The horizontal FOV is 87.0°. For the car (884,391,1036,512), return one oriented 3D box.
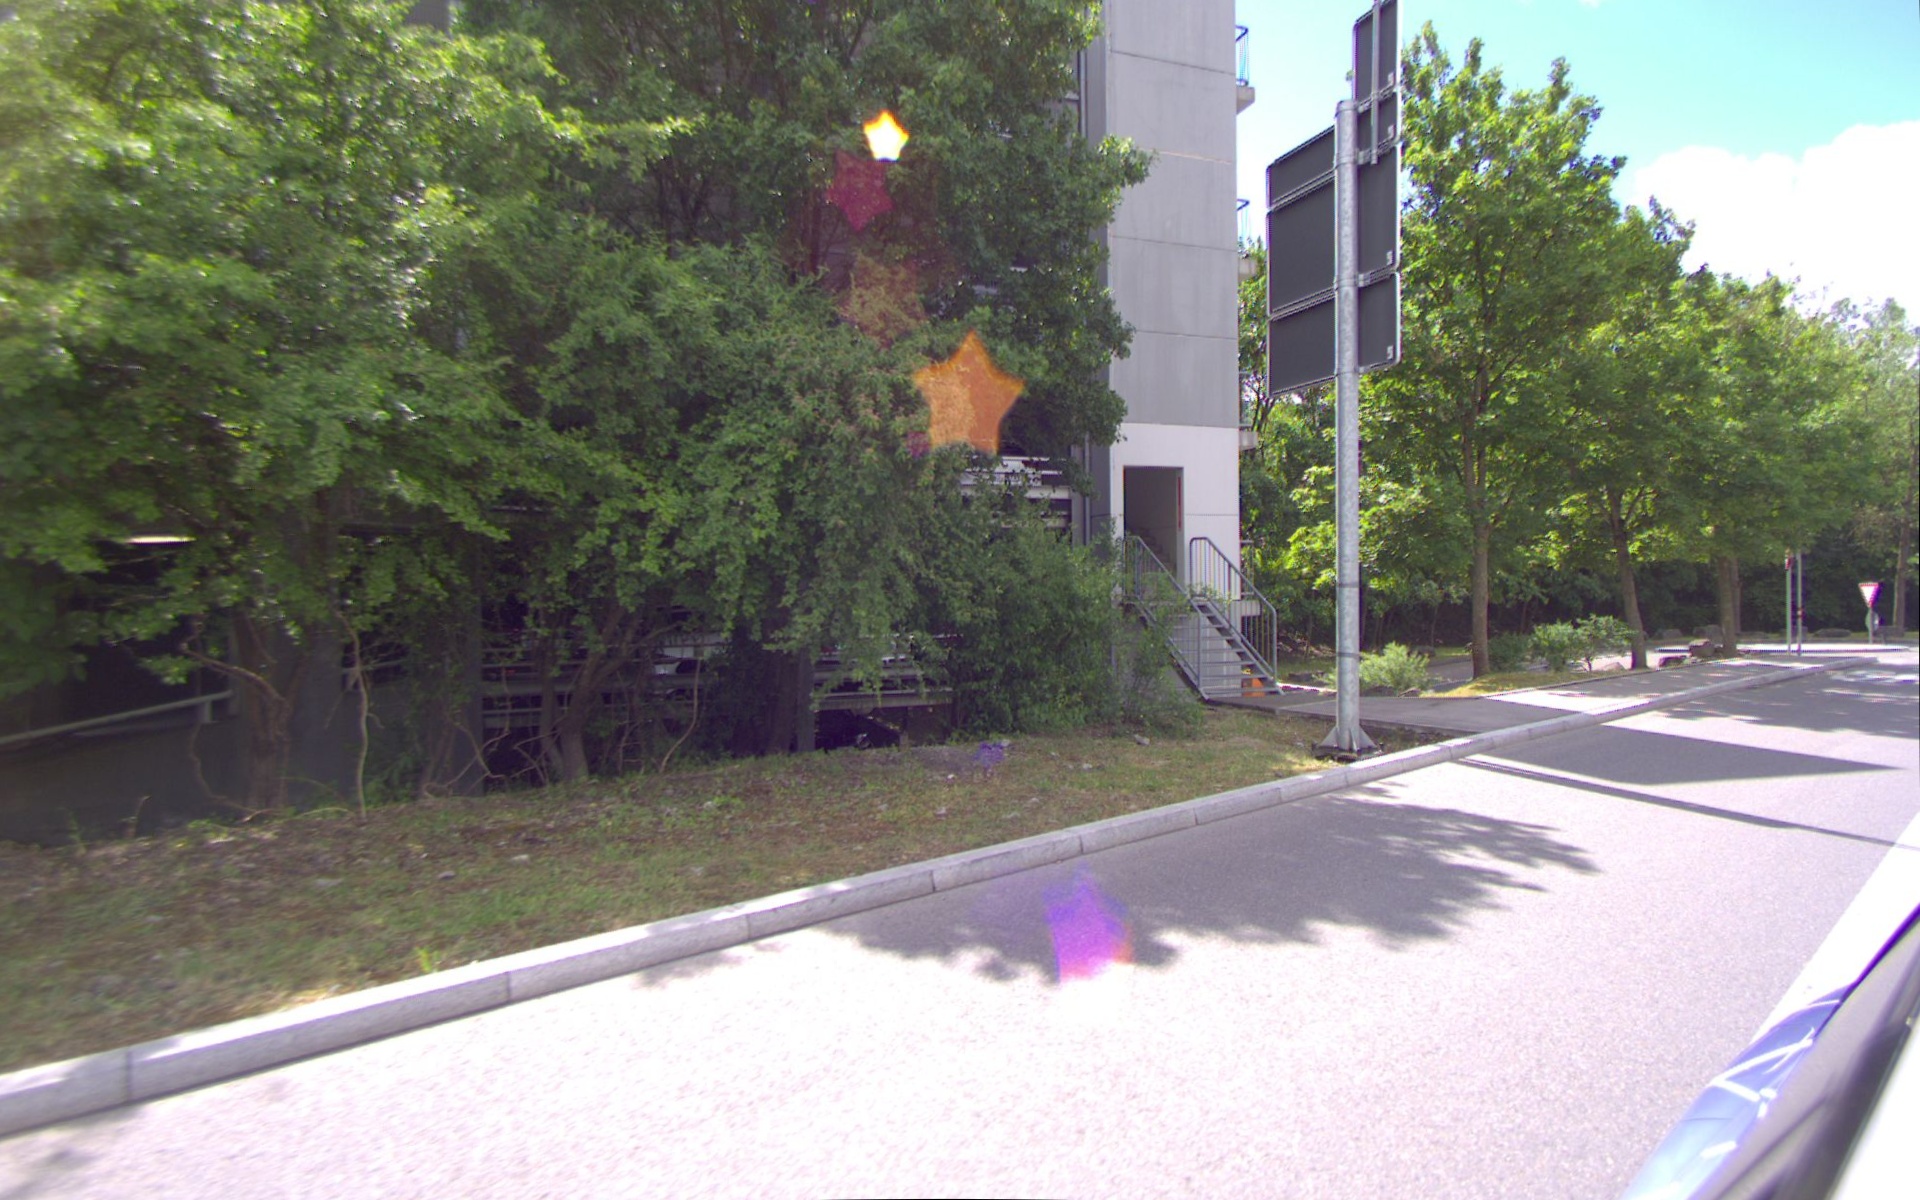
[{"bbox_3d":[-0.106,-2.605,18.581,1.630,1.645,3.783,0,0,-19],"label":"car"}]

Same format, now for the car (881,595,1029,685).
[{"bbox_3d":[-0.203,0.652,18.908,1.630,1.482,3.783,0,0,-19],"label":"car"}]

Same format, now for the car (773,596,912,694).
[{"bbox_3d":[-2.172,0.691,17.826,1.630,1.510,3.783,0,0,-19],"label":"car"}]

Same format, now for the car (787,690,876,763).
[{"bbox_3d":[-3.716,3.492,28.570,1.958,1.436,4.336,0,0,-14],"label":"car"}]

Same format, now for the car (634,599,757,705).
[{"bbox_3d":[-4.390,0.741,16.458,1.630,1.488,3.783,0,0,-19],"label":"car"}]

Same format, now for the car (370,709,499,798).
[{"bbox_3d":[-13.096,3.754,25.503,1.958,1.508,4.336,0,0,-14],"label":"car"}]

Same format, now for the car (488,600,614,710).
[{"bbox_3d":[-6.332,0.755,15.943,1.630,1.488,3.783,0,0,-19],"label":"car"}]

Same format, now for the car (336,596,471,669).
[{"bbox_3d":[-13.898,0.738,25.551,1.958,1.651,4.336,0,0,-14],"label":"car"}]

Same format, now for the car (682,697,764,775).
[{"bbox_3d":[-6.378,3.547,27.081,1.958,1.436,4.336,0,0,-14],"label":"car"}]

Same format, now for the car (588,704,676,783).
[{"bbox_3d":[-8.680,3.744,27.095,1.958,1.436,4.336,0,0,-14],"label":"car"}]

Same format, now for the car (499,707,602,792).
[{"bbox_3d":[-10.595,3.803,26.480,1.958,1.508,4.336,0,0,-14],"label":"car"}]

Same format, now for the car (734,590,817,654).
[{"bbox_3d":[-5.258,0.549,28.416,1.958,1.651,4.336,0,0,-14],"label":"car"}]

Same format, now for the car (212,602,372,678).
[{"bbox_3d":[-16.123,0.882,24.724,1.958,1.651,4.336,0,0,-14],"label":"car"}]
